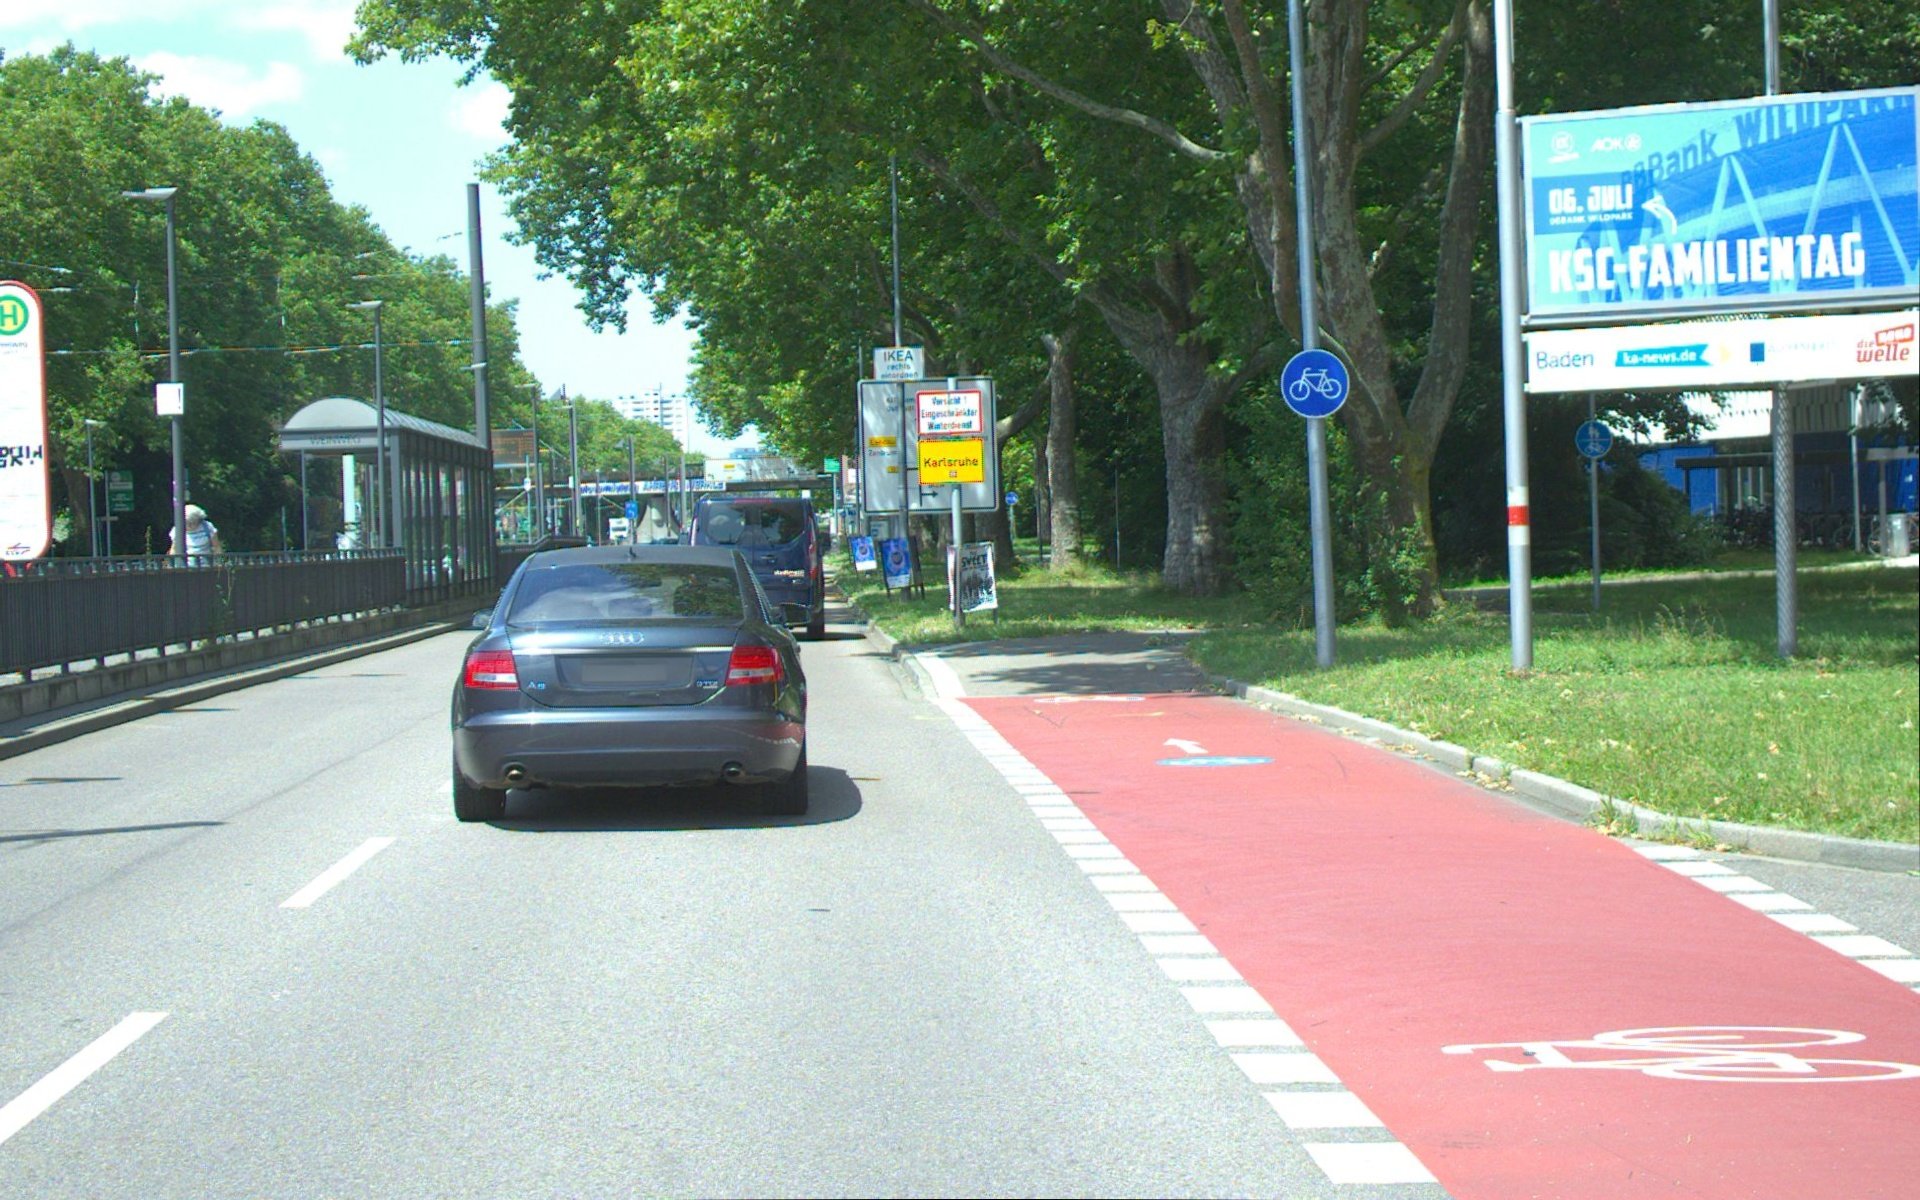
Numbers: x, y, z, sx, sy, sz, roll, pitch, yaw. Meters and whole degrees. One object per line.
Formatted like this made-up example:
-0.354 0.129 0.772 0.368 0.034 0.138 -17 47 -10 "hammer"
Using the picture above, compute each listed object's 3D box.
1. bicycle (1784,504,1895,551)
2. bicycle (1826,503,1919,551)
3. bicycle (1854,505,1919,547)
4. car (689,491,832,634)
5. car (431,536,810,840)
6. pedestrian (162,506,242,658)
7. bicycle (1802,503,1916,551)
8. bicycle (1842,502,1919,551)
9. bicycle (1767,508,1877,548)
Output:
21.554 -1.775 84.258 2.545 1.107 0.759 -1 1 -7 "bicycle"
21.998 -1.749 81.905 2.545 1.107 0.759 -1 1 -7 "bicycle"
22.006 -1.727 79.767 2.315 0.957 0.759 -1 1 -7 "bicycle"
-2.789 -0.543 48.861 1.848 1.953 4.145 0 1 -1 "car"
-1.777 0.393 18.824 1.842 1.479 4.001 0 1 -3 "car"
-8.404 -0.209 38.145 0.732 1.660 0.742 -1 1 -3 "pedestrian"
21.695 -1.761 82.971 2.545 1.107 0.759 -1 1 -7 "bicycle"
22.122 -1.737 80.867 2.545 1.107 0.759 -1 1 -7 "bicycle"
21.435 -1.788 85.524 2.545 0.967 0.759 -1 1 -7 "bicycle"
